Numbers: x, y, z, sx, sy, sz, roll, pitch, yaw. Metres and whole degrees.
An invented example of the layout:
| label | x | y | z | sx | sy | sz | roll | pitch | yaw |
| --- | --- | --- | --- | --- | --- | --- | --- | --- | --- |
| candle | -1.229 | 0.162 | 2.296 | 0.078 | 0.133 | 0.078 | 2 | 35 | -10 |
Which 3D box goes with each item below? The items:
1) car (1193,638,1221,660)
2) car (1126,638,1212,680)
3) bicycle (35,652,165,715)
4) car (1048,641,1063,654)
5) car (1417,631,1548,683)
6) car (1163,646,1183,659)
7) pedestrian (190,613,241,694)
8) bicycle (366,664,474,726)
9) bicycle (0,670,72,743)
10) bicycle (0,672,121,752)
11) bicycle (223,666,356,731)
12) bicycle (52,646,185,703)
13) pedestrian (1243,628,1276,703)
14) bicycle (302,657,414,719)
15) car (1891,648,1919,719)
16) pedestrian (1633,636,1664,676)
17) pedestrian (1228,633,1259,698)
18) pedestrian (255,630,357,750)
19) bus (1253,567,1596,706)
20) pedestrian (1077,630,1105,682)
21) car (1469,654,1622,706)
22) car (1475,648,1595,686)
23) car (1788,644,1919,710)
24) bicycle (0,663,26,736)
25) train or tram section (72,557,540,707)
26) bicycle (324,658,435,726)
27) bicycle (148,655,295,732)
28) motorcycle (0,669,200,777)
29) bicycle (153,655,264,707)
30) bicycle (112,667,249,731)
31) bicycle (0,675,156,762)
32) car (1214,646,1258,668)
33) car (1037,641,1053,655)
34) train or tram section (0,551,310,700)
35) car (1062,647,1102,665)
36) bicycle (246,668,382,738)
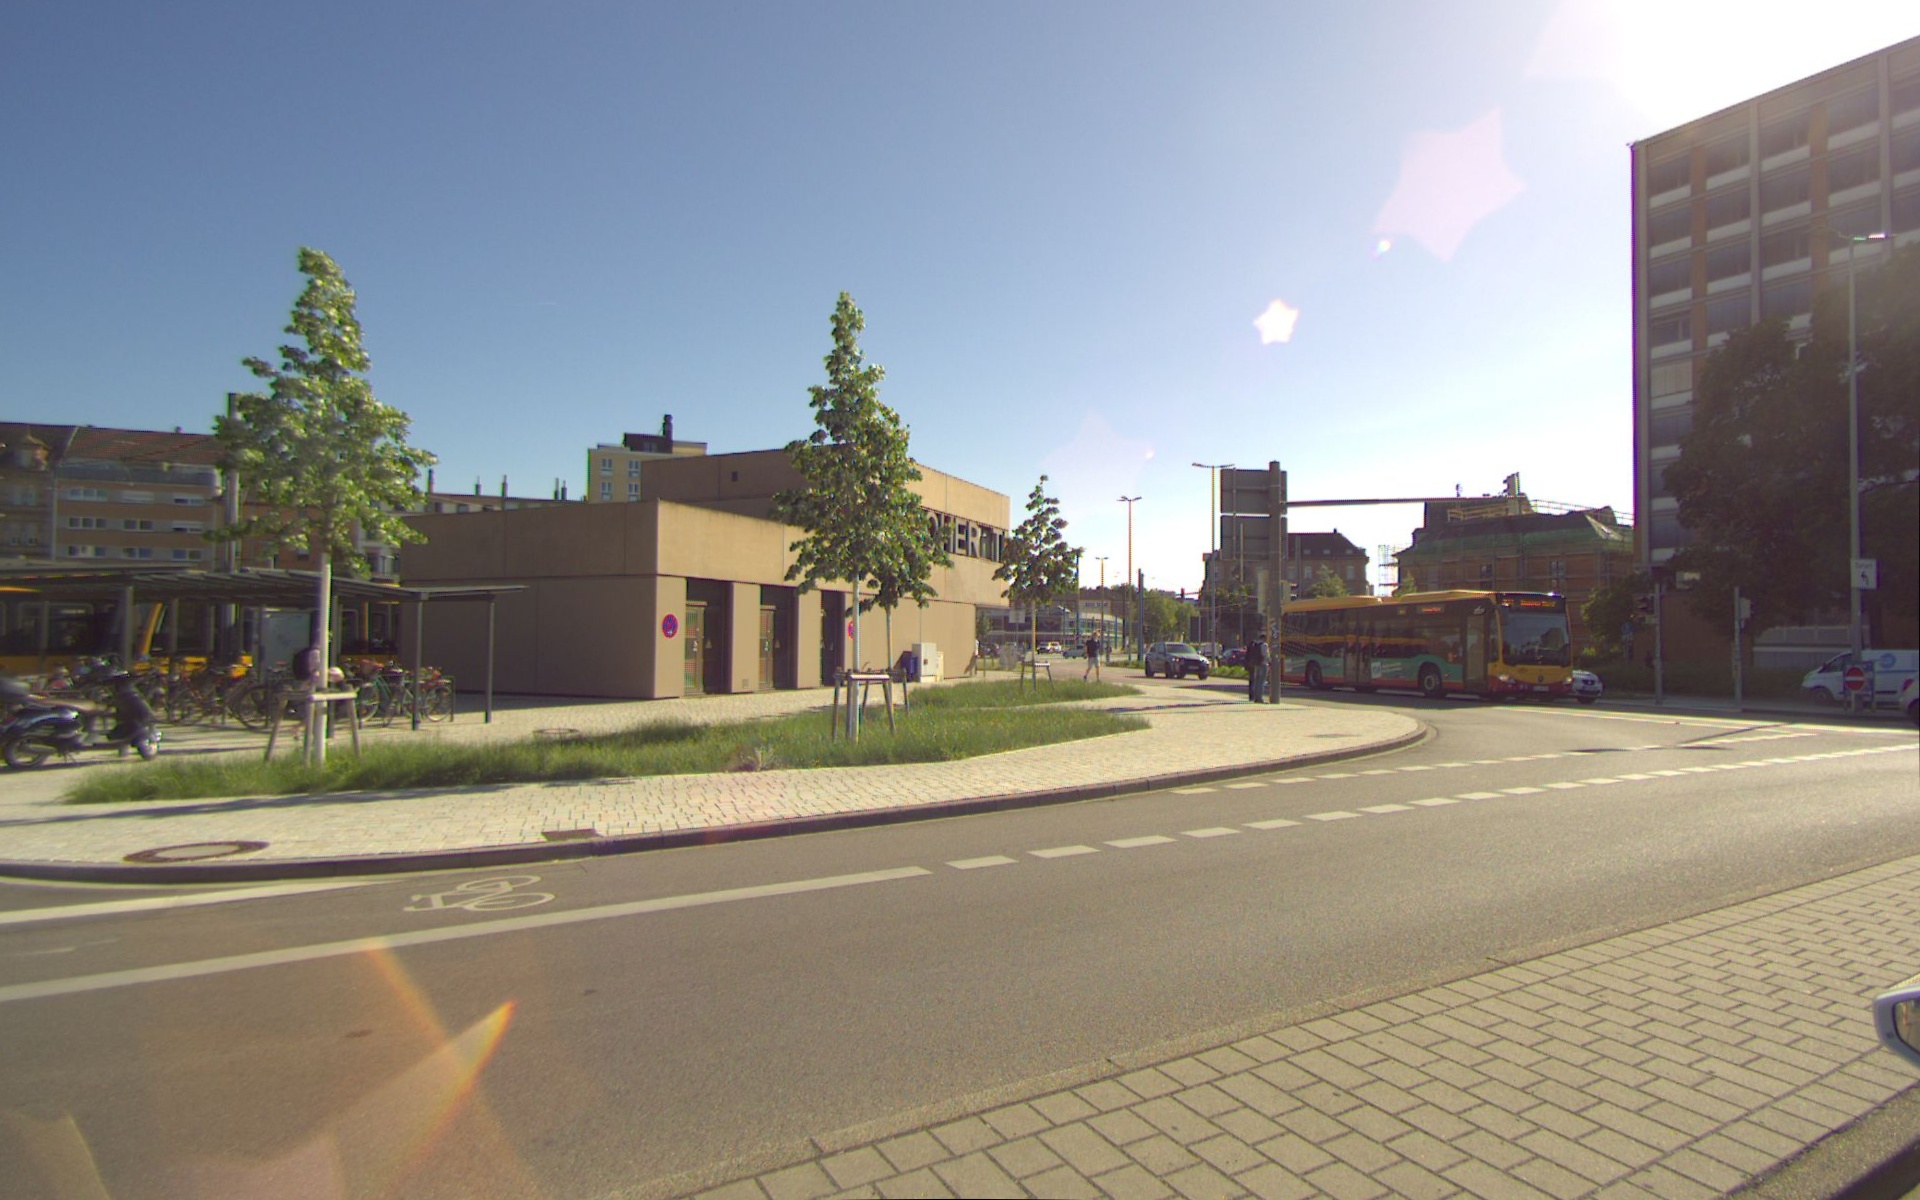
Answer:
| label | x | y | z | sx | sy | sz | roll | pitch | yaw |
| --- | --- | --- | --- | --- | --- | --- | --- | --- | --- |
| car | 26.128 | 5.163 | 106.436 | 2.025 | 2.040 | 4.001 | 2 | 0 | 1 |
| car | 10.199 | 2.853 | 49.381 | 1.975 | 1.885 | 4.720 | 1 | -2 | -21 |
| bicycle | -16.920 | 1.611 | 19.821 | 0.617 | 1.146 | 1.828 | 0 | -2 | 27 |
| car | 14.019 | 6.973 | 147.716 | 1.865 | 1.728 | 4.003 | 0 | -2 | 9 |
| car | 27.838 | 2.985 | 53.934 | 2.956 | 2.580 | 6.953 | 1 | -2 | -6 |
| car | 28.689 | 7.043 | 135.302 | 1.960 | 1.603 | 4.001 | 2 | 0 | 2 |
| pedestrian | -17.591 | 1.248 | 23.742 | 0.738 | 1.880 | 0.709 | 1 | -2 | -19 |
| bicycle | -9.832 | 1.710 | 18.376 | 0.616 | 1.021 | 1.832 | 0 | -2 | 16 |
| bicycle | -14.114 | 1.550 | 14.505 | 0.617 | 1.021 | 1.829 | 0 | -2 | 25 |
| bicycle | -13.130 | 1.558 | 14.064 | 0.617 | 1.021 | 2.026 | 0 | -2 | 25 |
| bicycle | -11.624 | 1.680 | 17.492 | 0.492 | 1.010 | 1.887 | 0 | -2 | 31 |
| bicycle | -16.002 | 1.392 | 19.158 | 0.617 | 1.021 | 1.828 | 0 | -2 | 27 |
| pedestrian | 7.635 | 1.659 | 25.603 | 0.594 | 1.880 | 0.681 | 1 | -2 | -7 |
| bicycle | -11.755 | 1.688 | 19.681 | 0.617 | 1.107 | 1.829 | 0 | -2 | 25 |
| car | 20.761 | 1.747 | 19.266 | 1.862 | 1.421 | 3.844 | 4 | -2 | -16 |
| pedestrian | 34.921 | 2.830 | 50.988 | 0.995 | 2.040 | 0.826 | 1 | -2 | -2 |
| pedestrian | 7.600 | 1.758 | 26.957 | 0.594 | 1.719 | 0.634 | 1 | -2 | -7 |
| pedestrian | -9.771 | 1.319 | 15.056 | 1.007 | 1.727 | 0.837 | 1 | -2 | -12 |
| bus | 14.140 | 1.177 | 32.684 | 3.194 | 3.617 | 12.433 | 1 | -2 | -13 |
| pedestrian | 4.755 | 2.021 | 36.432 | 0.826 | 1.869 | 0.866 | 1 | -2 | -7 |
| car | 17.758 | 2.395 | 30.697 | 1.730 | 1.391 | 3.988 | 1 | -2 | -15 |
| car | 26.471 | 3.065 | 46.451 | 2.066 | 1.602 | 4.846 | 1 | -2 | -13 |
| car | 30.916 | 2.516 | 33.379 | 2.037 | 2.040 | 5.002 | 1 | -2 | -14 |
| bicycle | -15.281 | 1.516 | 15.004 | 0.617 | 1.094 | 1.829 | 0 | -2 | 25 |
| train or tram section | -18.770 | 0.996 | 30.613 | 2.702 | 3.648 | 12.318 | 0 | -2 | 25 |
| bicycle | -10.752 | 1.676 | 18.675 | 0.616 | 1.161 | 1.831 | 0 | -2 | 18 |
| bicycle | -12.898 | 1.600 | 17.621 | 0.496 | 1.225 | 2.051 | 0 | -2 | 26 |
| motorcycle | -10.929 | 1.478 | 12.468 | 0.599 | 1.173 | 2.360 | 0 | -2 | 25 |
| bicycle | -16.267 | 1.734 | 21.795 | 0.617 | 1.021 | 1.829 | 0 | -2 | 25 |
| bicycle | -13.874 | 1.742 | 17.930 | 0.617 | 1.021 | 1.828 | 0 | -2 | 27 |
| bicycle | -12.047 | 1.559 | 13.513 | 0.617 | 1.021 | 1.829 | 0 | -2 | 25 |
| car | 20.236 | 4.149 | 73.828 | 1.962 | 1.538 | 3.818 | 1 | -2 | -4 |
| car | 11.996 | 6.781 | 141.848 | 1.959 | 1.814 | 4.003 | 0 | -2 | 10 |
| train or tram section | -24.150 | 0.677 | 26.339 | 2.779 | 3.648 | 12.320 | 0 | -2 | 24 |
| car | 13.113 | 6.006 | 108.354 | 3.940 | 1.795 | 1.775 | -1 | -2 | 40 |
| bicycle | -10.681 | 1.679 | 16.675 | 0.617 | 1.021 | 1.828 | 0 | -2 | 27 |
